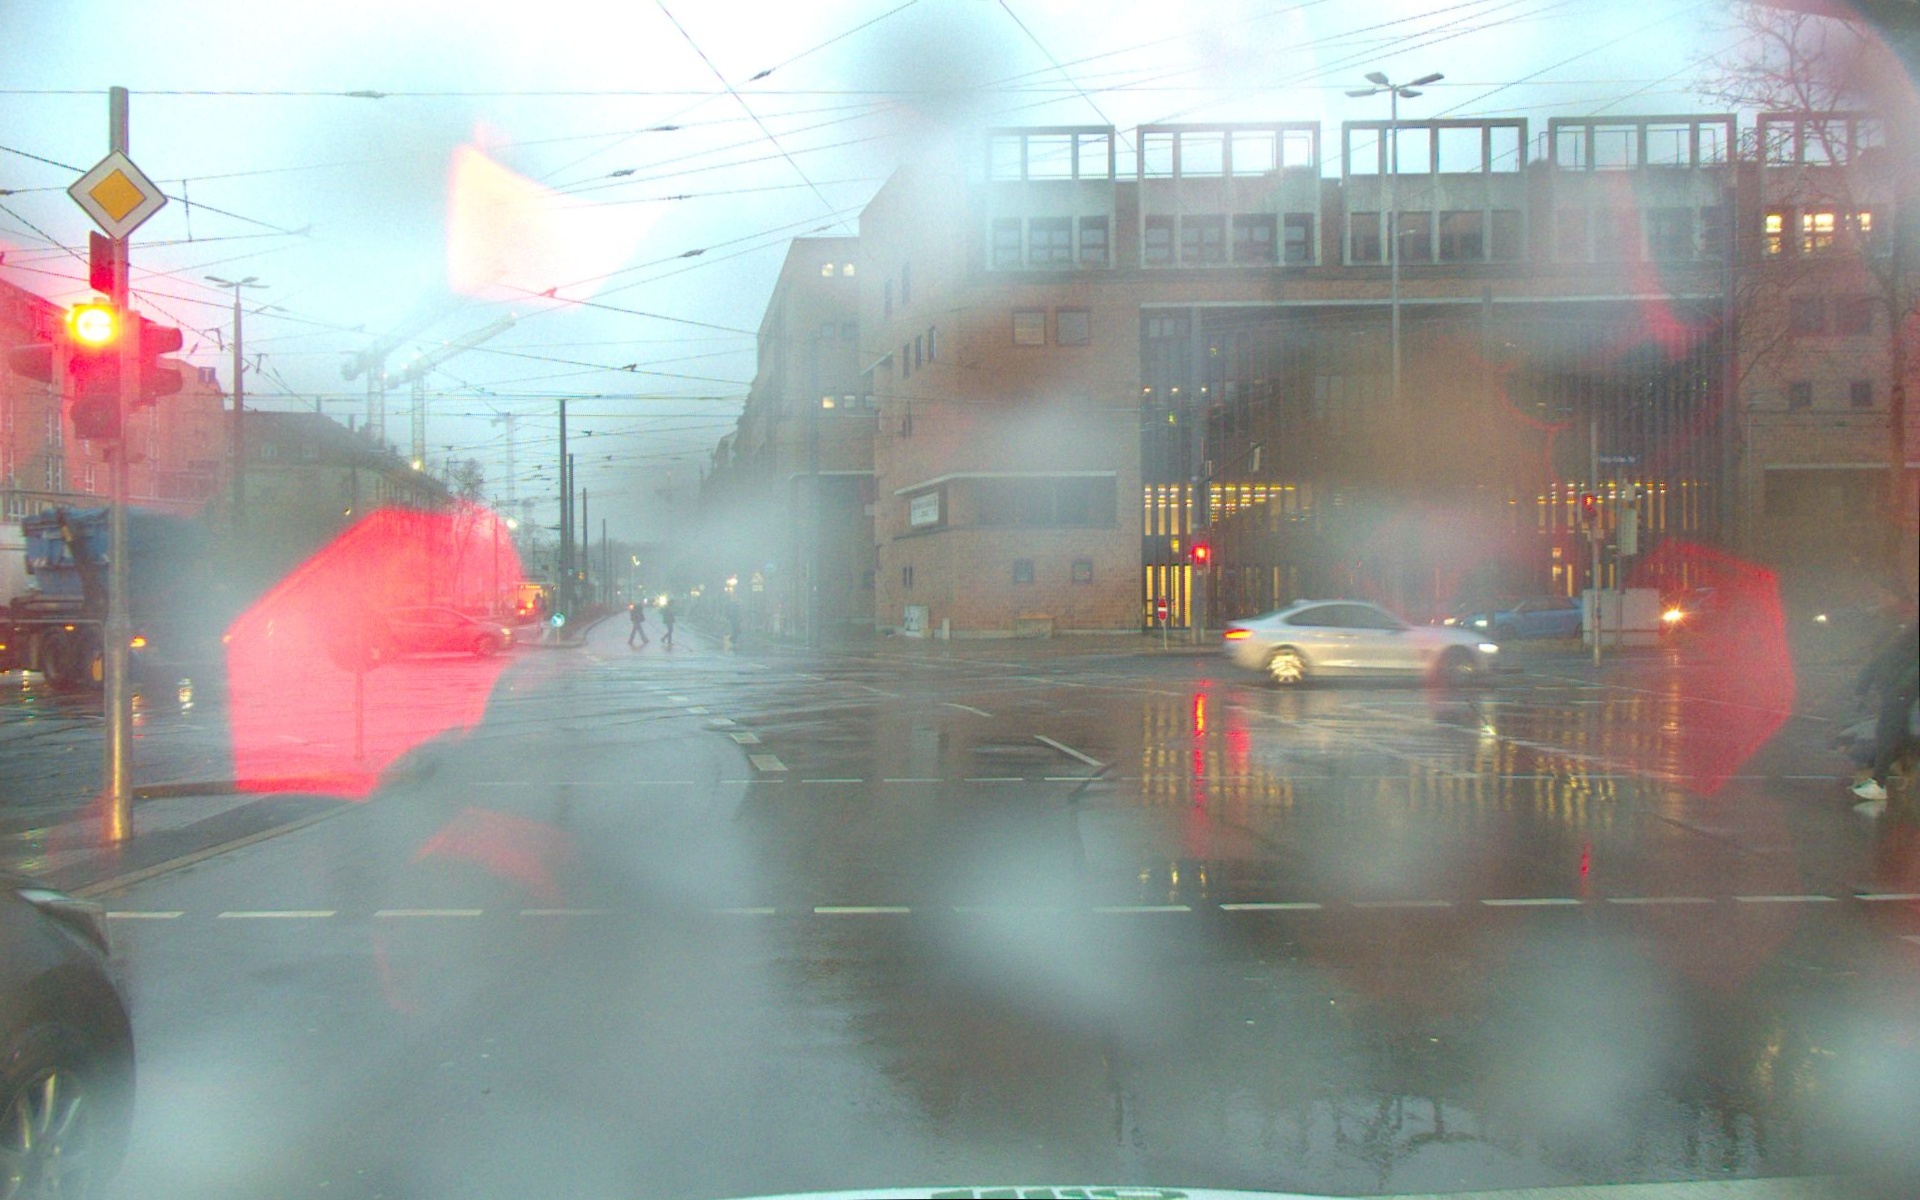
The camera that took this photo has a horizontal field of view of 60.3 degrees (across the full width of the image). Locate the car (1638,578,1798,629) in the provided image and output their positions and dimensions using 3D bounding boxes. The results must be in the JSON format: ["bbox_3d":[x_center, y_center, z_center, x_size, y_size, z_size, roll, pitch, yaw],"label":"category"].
[{"bbox_3d":[22.353,0.094,48.871,3.910,1.310,1.846,-1,4,-7],"label":"car"}]

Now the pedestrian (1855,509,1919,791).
[{"bbox_3d":[7.714,0.398,13.394,0.564,2.223,0.619,0,-1,-6],"label":"pedestrian"}]

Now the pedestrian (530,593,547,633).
[{"bbox_3d":[-18.725,0.554,73.472,0.681,1.754,0.763,-1,0,-11],"label":"pedestrian"}]

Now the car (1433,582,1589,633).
[{"bbox_3d":[15.982,0.209,48.067,3.910,1.284,1.846,-1,4,-7],"label":"car"}]

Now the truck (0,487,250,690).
[{"bbox_3d":[-17.620,-0.196,33.460,7.382,3.697,2.835,0,0,38],"label":"truck"}]

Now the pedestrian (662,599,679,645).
[{"bbox_3d":[-11.267,0.848,64.385,0.654,1.755,0.487,-1,0,-11],"label":"pedestrian"}]

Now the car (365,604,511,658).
[{"bbox_3d":[-15.044,0.895,47.651,3.930,1.466,1.703,1,0,-21],"label":"car"}]

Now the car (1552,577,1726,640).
[{"bbox_3d":[18.234,0.207,44.522,3.910,1.530,1.846,-1,4,-7],"label":"car"}]

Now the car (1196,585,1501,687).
[{"bbox_3d":[6.518,0.593,28.282,4.881,1.635,2.255,-1,0,9],"label":"car"}]

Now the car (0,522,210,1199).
[{"bbox_3d":[-2.589,0.663,1.922,1.596,1.550,3.942,-1,1,0],"label":"car"}]

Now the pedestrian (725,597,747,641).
[{"bbox_3d":[-8.894,0.753,65.678,0.828,1.717,0.648,-1,0,-11],"label":"pedestrian"}]

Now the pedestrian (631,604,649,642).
[{"bbox_3d":[-12.758,0.917,65.879,0.687,1.510,0.574,-1,0,-11],"label":"pedestrian"}]

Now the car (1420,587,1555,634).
[{"bbox_3d":[16.608,0.317,52.162,3.649,1.284,1.846,-1,4,-7],"label":"car"}]

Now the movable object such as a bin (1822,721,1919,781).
[{"bbox_3d":[7.679,1.267,13.943,0.664,0.477,0.312,0,-1,-7],"label":"movable object such as a bin"}]
